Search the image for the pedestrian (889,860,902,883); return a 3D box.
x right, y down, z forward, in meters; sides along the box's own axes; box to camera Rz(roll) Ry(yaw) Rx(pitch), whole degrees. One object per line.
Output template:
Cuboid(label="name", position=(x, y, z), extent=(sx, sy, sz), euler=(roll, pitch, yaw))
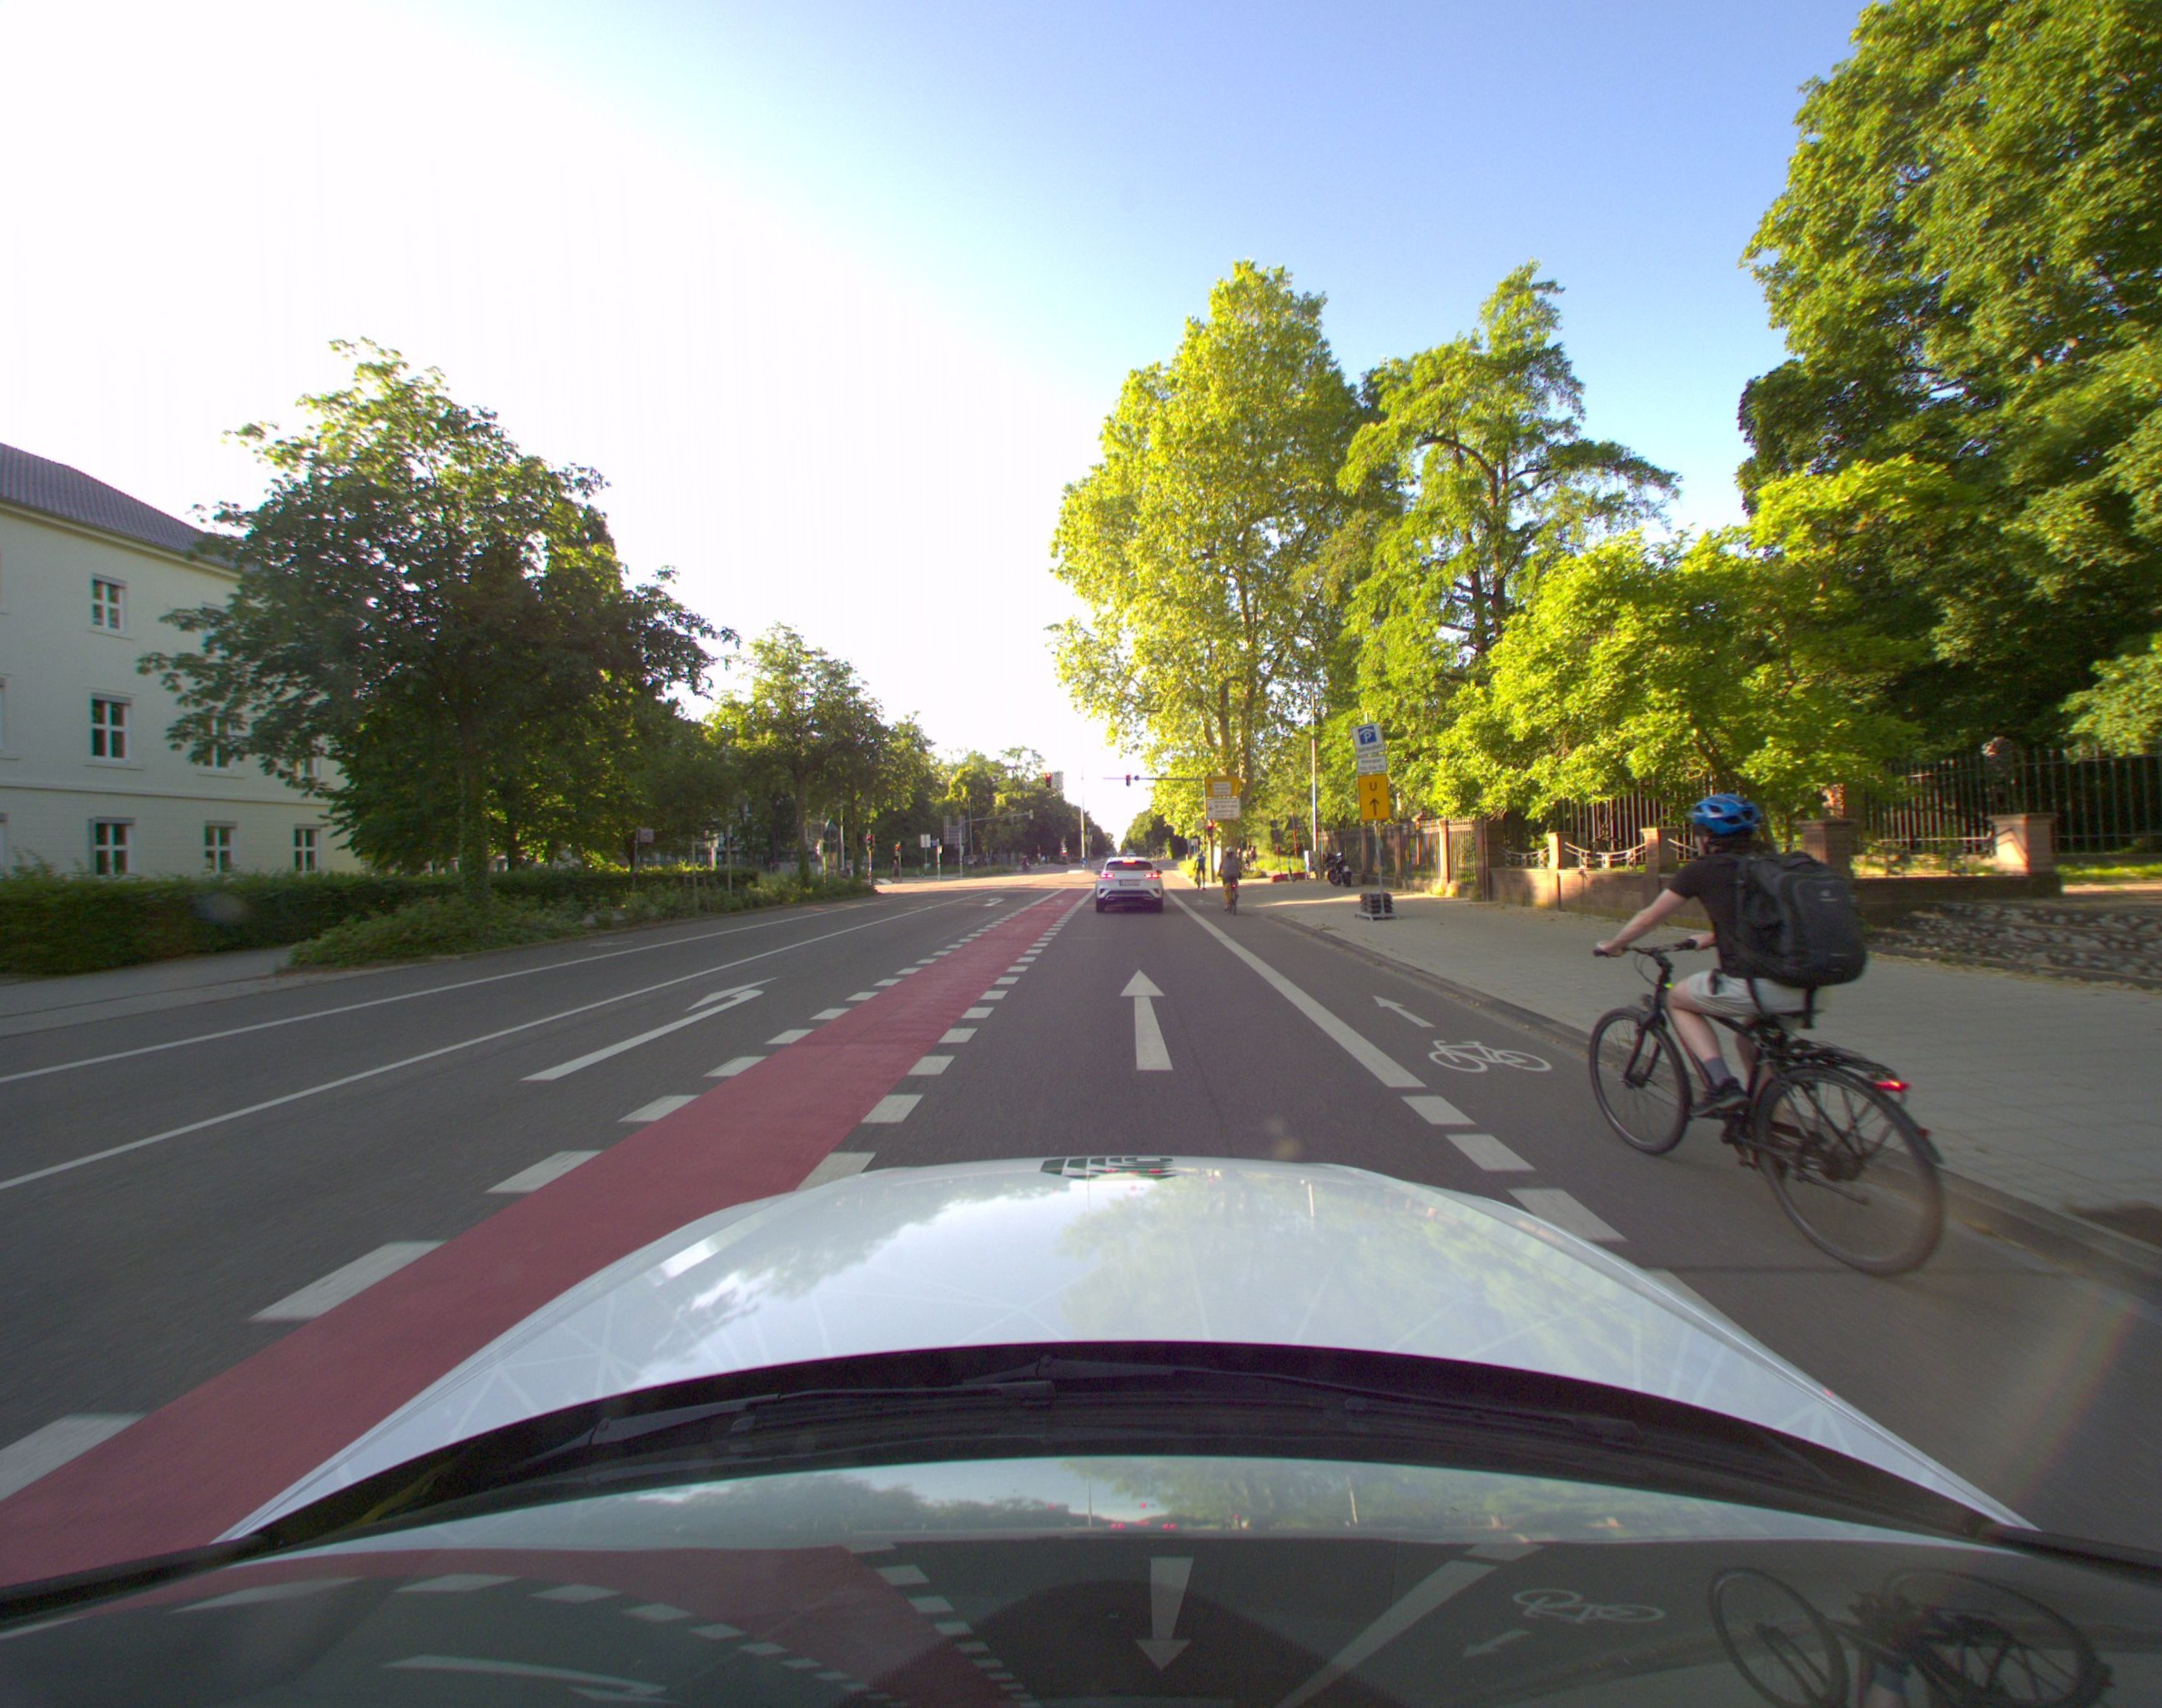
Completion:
Cuboid(label="pedestrian", position=(-15.460, 1.448, 67.938), extent=(0.684, 1.792, 0.769), euler=(-5, 0, 2))

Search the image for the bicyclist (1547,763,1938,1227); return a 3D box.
Cuboid(label="bicyclist", position=(2.680, 0.495, 3.492), extent=(0.633, 1.614, 1.284), euler=(-1, 0, 2))

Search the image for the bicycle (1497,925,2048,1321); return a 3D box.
Cuboid(label="bicycle", position=(2.704, 0.930, 3.628), extent=(0.640, 1.025, 2.214), euler=(-1, 0, 2))

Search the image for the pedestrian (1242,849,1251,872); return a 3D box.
Cuboid(label="pedestrian", position=(12.098, 0.453, 59.495), extent=(0.479, 1.640, 0.433), euler=(-5, 3, 9))

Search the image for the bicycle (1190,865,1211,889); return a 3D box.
Cuboid(label="bicycle", position=(5.268, 0.998, 35.991), extent=(0.750, 1.026, 1.870), euler=(-1, -1, 2))

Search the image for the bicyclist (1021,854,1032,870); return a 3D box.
Cuboid(label="bicyclist", position=(-5.804, 0.825, 86.940), extent=(0.951, 1.705, 1.234), euler=(-3, 0, 4))

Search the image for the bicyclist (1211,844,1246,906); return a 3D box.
Cuboid(label="bicyclist", position=(3.816, 0.534, 21.152), extent=(0.744, 1.537, 0.970), euler=(-2, 0, 2))

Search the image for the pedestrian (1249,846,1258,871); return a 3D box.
Cuboid(label="pedestrian", position=(12.684, 0.334, 59.948), extent=(0.479, 1.792, 0.433), euler=(-5, 3, 9))

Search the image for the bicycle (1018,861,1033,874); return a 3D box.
Cuboid(label="bicycle", position=(-5.509, 1.324, 80.867), extent=(1.097, 1.255, 2.782), euler=(-3, 0, 4))

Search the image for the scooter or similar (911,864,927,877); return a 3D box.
Cuboid(label="scooter or similar", position=(-15.316, 1.572, 77.120), extent=(0.506, 1.144, 1.710), euler=(-3, 0, 24))

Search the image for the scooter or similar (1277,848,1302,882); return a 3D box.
Cuboid(label="scooter or similar", position=(8.945, 0.467, 34.933), extent=(0.564, 1.382, 1.857), euler=(-3, 0, 1))

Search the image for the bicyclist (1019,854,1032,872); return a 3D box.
Cuboid(label="bicyclist", position=(-5.528, 0.917, 80.870), extent=(1.087, 1.754, 1.099), euler=(-3, 0, 4))

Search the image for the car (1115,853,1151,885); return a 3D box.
Cuboid(label="car", position=(2.828, 0.779, 44.904), extent=(1.844, 1.591, 4.002), euler=(-3, 0, 2))

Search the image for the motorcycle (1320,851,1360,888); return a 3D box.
Cuboid(label="motorcycle", position=(8.925, 0.504, 28.150), extent=(0.659, 1.167, 2.329), euler=(-5, 0, 2))

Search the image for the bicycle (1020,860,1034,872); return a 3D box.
Cuboid(label="bicycle", position=(-5.780, 1.315, 87.026), extent=(0.959, 1.181, 2.955), euler=(-3, 0, 5))

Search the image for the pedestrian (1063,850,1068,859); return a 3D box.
Cuboid(label="pedestrian", position=(-3.964, 0.178, 208.699), extent=(0.870, 2.149, 1.107), euler=(-3, 0, 12))

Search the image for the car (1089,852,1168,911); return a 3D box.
Cuboid(label="car", position=(1.321, 0.724, 23.204), extent=(1.986, 1.453, 4.002), euler=(-3, 0, 2))

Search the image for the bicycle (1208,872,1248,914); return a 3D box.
Cuboid(label="bicycle", position=(3.827, 0.986, 21.298), extent=(0.750, 1.026, 1.870), euler=(-1, -1, 2))

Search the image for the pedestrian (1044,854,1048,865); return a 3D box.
Cuboid(label="pedestrian", position=(-5.509, 0.934, 128.381), extent=(0.518, 1.705, 0.528), euler=(-3, 0, -2))

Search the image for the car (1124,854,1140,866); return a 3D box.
Cuboid(label="car", position=(6.952, 0.769, 110.294), extent=(1.727, 1.546, 4.009), euler=(-2, 0, 8))

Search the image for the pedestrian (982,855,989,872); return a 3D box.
Cuboid(label="pedestrian", position=(-11.335, 1.115, 96.330), extent=(0.648, 1.888, 0.663), euler=(-3, 0, 5))

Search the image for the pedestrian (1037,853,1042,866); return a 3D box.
Cuboid(label="pedestrian", position=(-6.341, 0.815, 125.663), extent=(0.654, 2.013, 0.832), euler=(-3, 0, 0))

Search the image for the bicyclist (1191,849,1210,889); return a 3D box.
Cuboid(label="bicyclist", position=(5.264, 0.649, 35.888), extent=(0.747, 1.750, 0.843), euler=(-1, 0, 2))

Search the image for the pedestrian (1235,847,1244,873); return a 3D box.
Cuboid(label="pedestrian", position=(11.566, 0.428, 59.329), extent=(0.479, 1.792, 0.433), euler=(-5, 3, 9))
